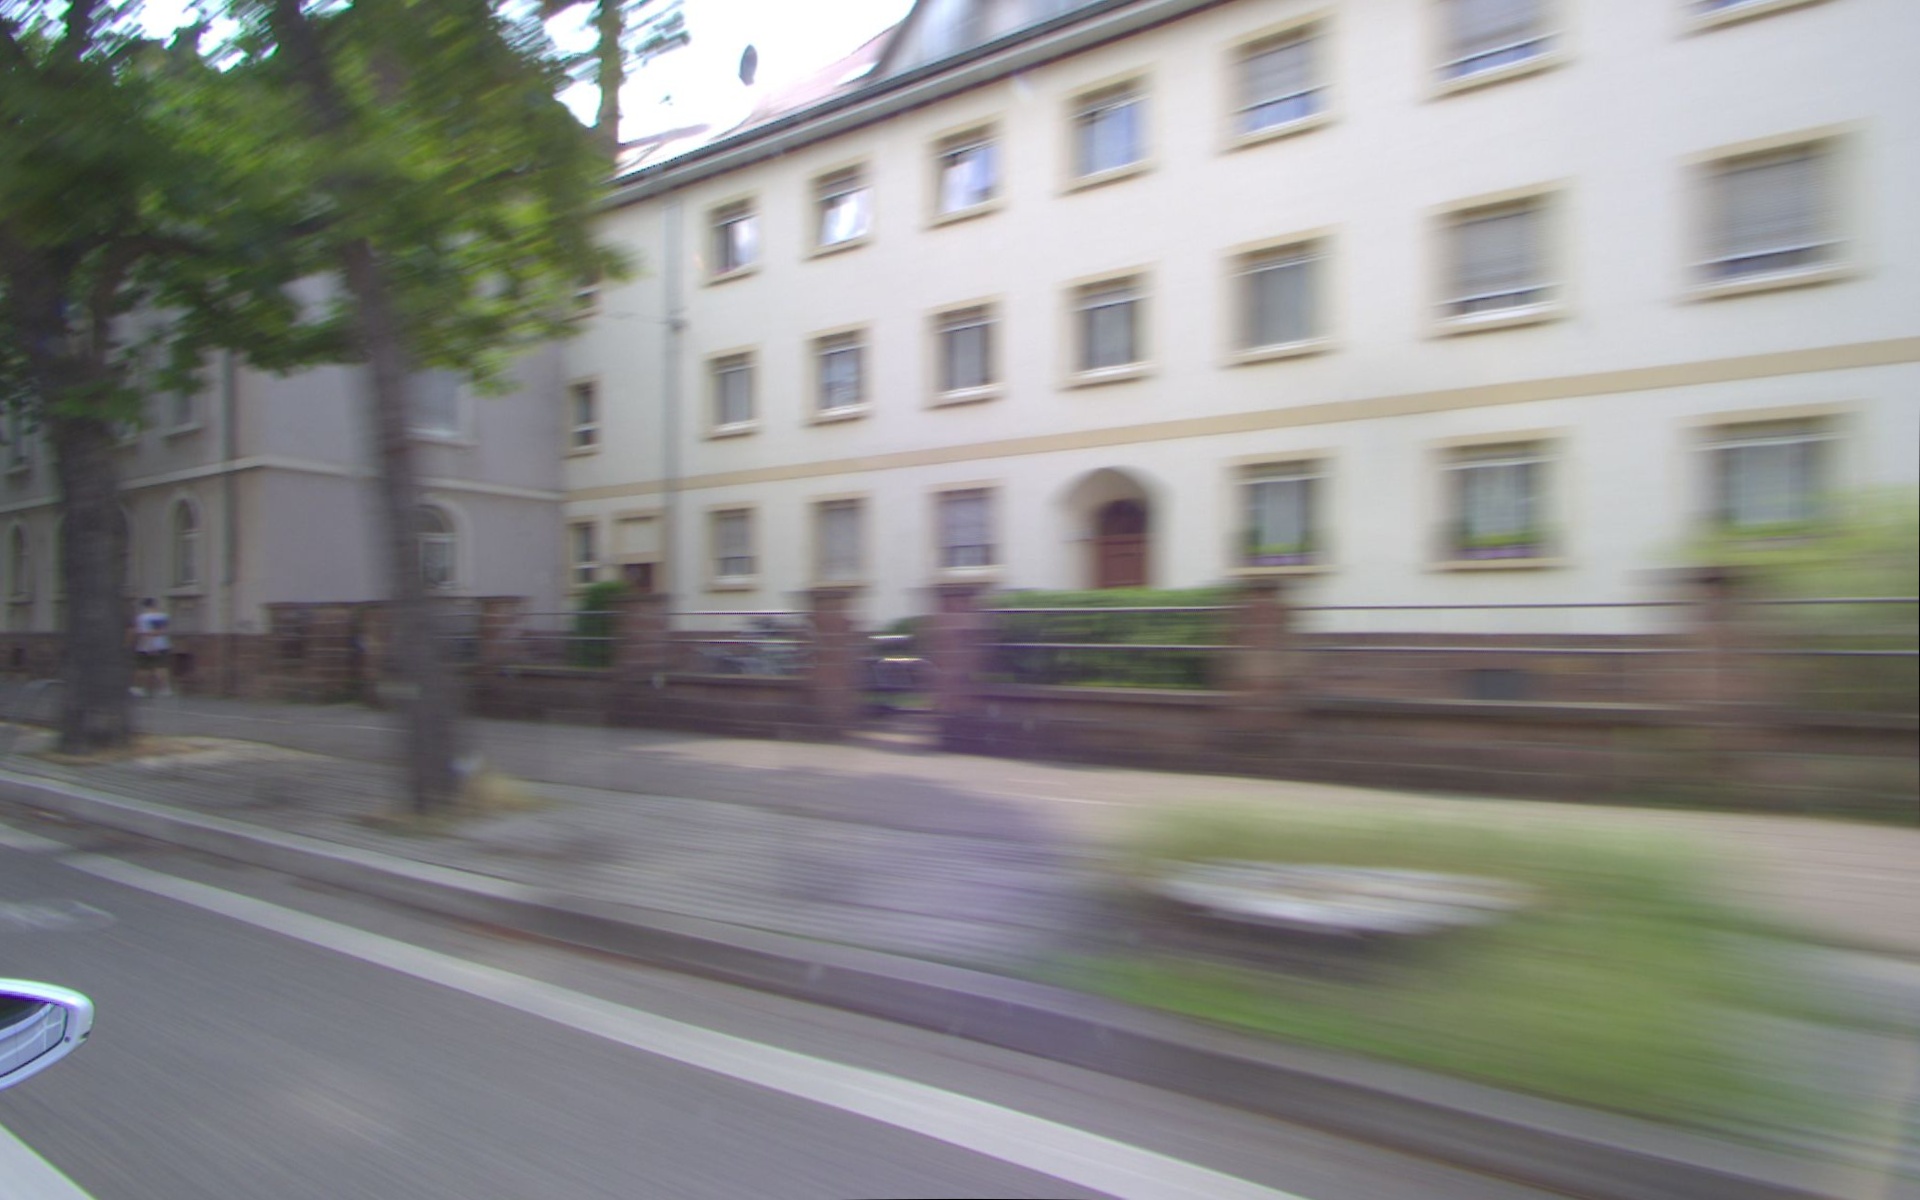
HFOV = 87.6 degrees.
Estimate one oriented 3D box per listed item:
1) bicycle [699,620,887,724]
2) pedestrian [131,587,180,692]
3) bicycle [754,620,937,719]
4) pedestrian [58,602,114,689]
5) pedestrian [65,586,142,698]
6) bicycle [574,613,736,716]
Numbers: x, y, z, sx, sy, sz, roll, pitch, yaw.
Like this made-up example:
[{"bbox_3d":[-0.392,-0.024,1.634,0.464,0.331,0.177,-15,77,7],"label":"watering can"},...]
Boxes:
[{"bbox_3d":[-2.139,0.868,12.597,2.562,1.206,0.651,-1,-2,32],"label":"bicycle"},{"bbox_3d":[-14.676,0.714,18.277,0.677,1.877,0.503,0,0,32],"label":"pedestrian"},{"bbox_3d":[-1.546,0.880,13.167,2.562,1.206,0.651,-1,-2,32],"label":"bicycle"},{"bbox_3d":[-17.248,0.886,19.765,0.962,1.661,0.579,0,0,32],"label":"pedestrian"},{"bbox_3d":[-15.108,0.715,17.665,0.873,1.915,0.752,0,2,32],"label":"pedestrian"},{"bbox_3d":[-4.303,0.876,14.022,2.562,1.336,0.651,-1,-2,32],"label":"bicycle"}]
